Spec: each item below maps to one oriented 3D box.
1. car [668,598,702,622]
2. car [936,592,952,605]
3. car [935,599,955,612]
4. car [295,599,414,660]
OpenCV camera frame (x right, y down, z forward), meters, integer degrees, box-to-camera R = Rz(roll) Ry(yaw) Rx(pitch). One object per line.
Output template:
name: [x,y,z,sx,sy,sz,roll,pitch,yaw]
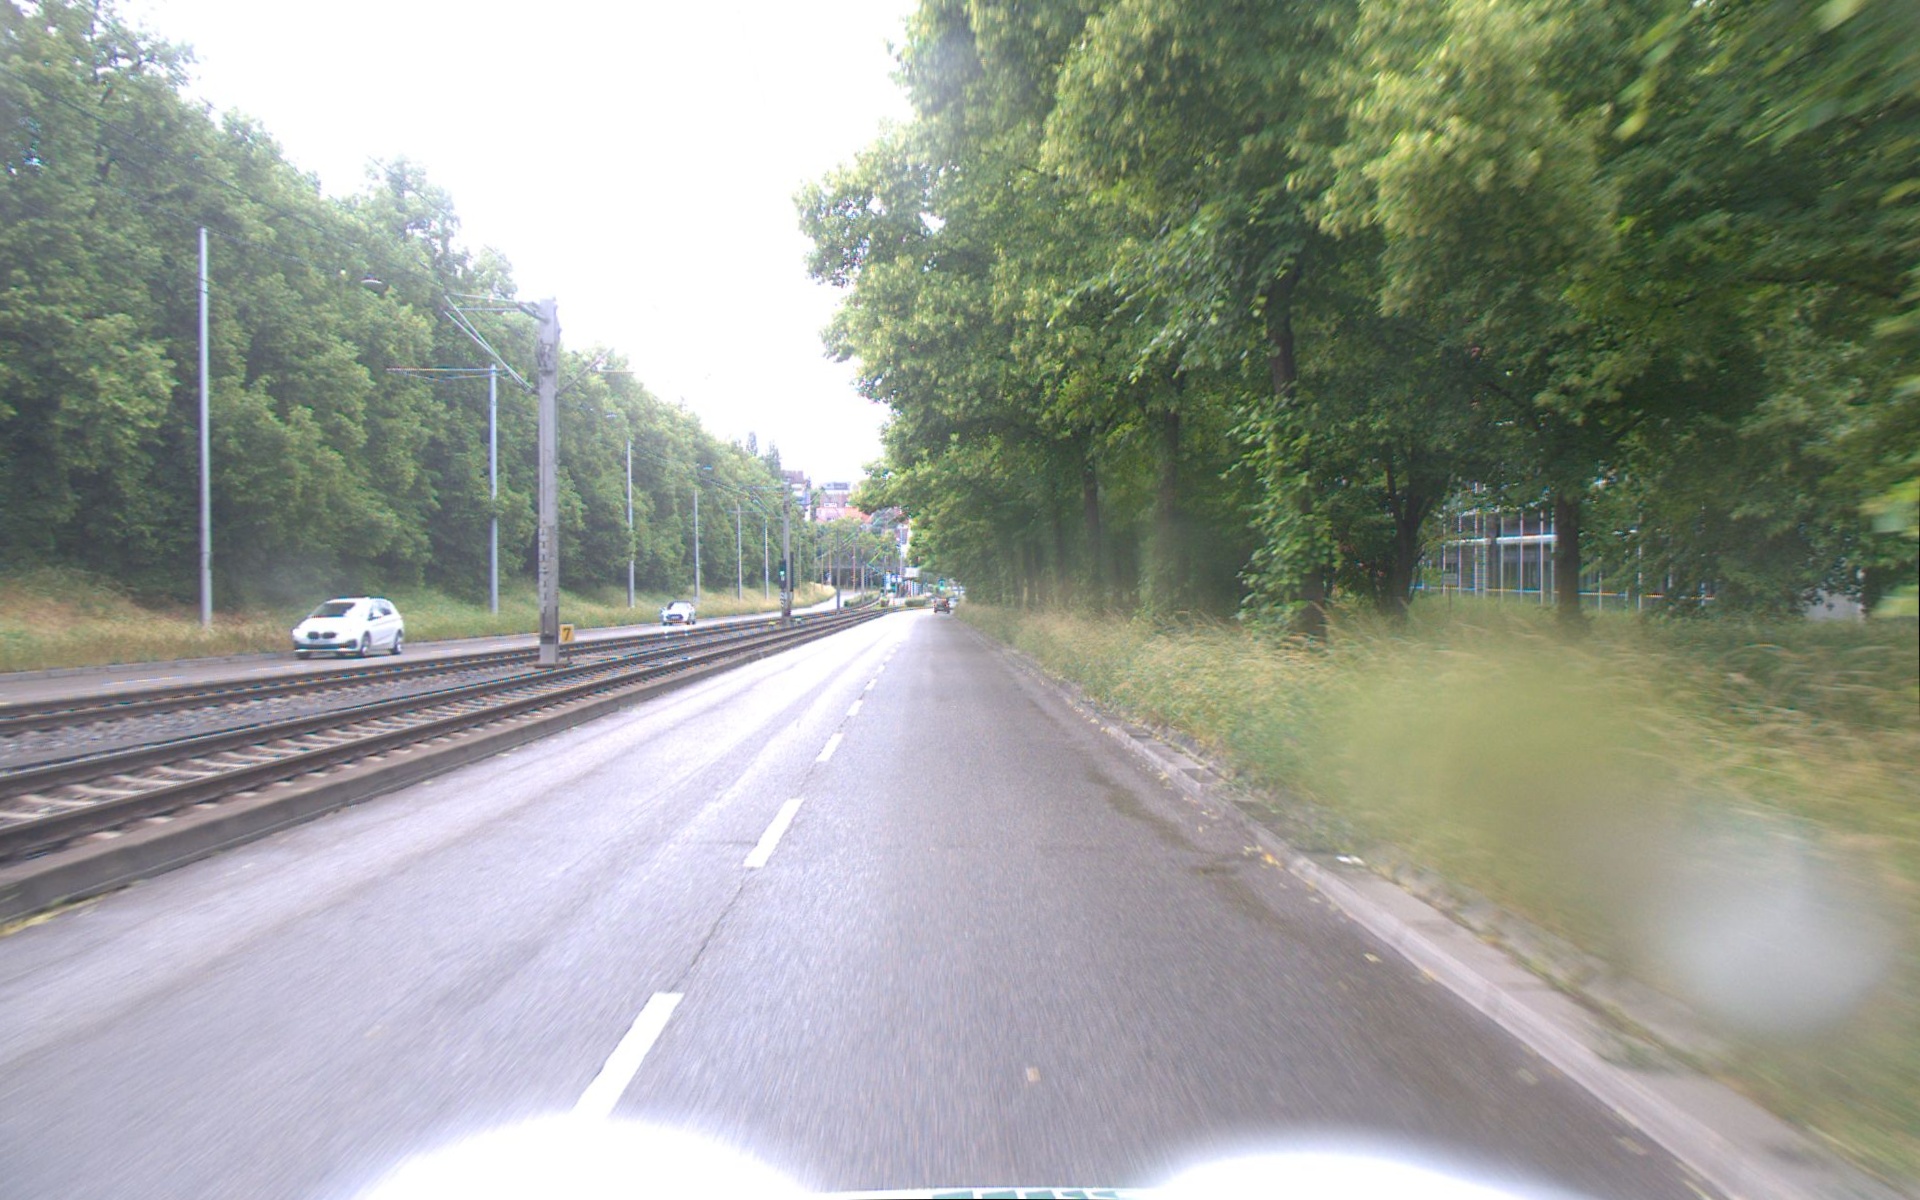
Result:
car: [-17.146,0.613,103.161,1.446,1.461,3.909,-2,0,-1]
car: [-1.948,-0.192,206.480,1.953,1.680,4.000,0,0,-1]
car: [-1.639,0.647,184.120,2.149,1.352,3.999,1,1,-1]
car: [-16.285,0.750,44.663,1.619,1.556,4.380,0,0,0]
